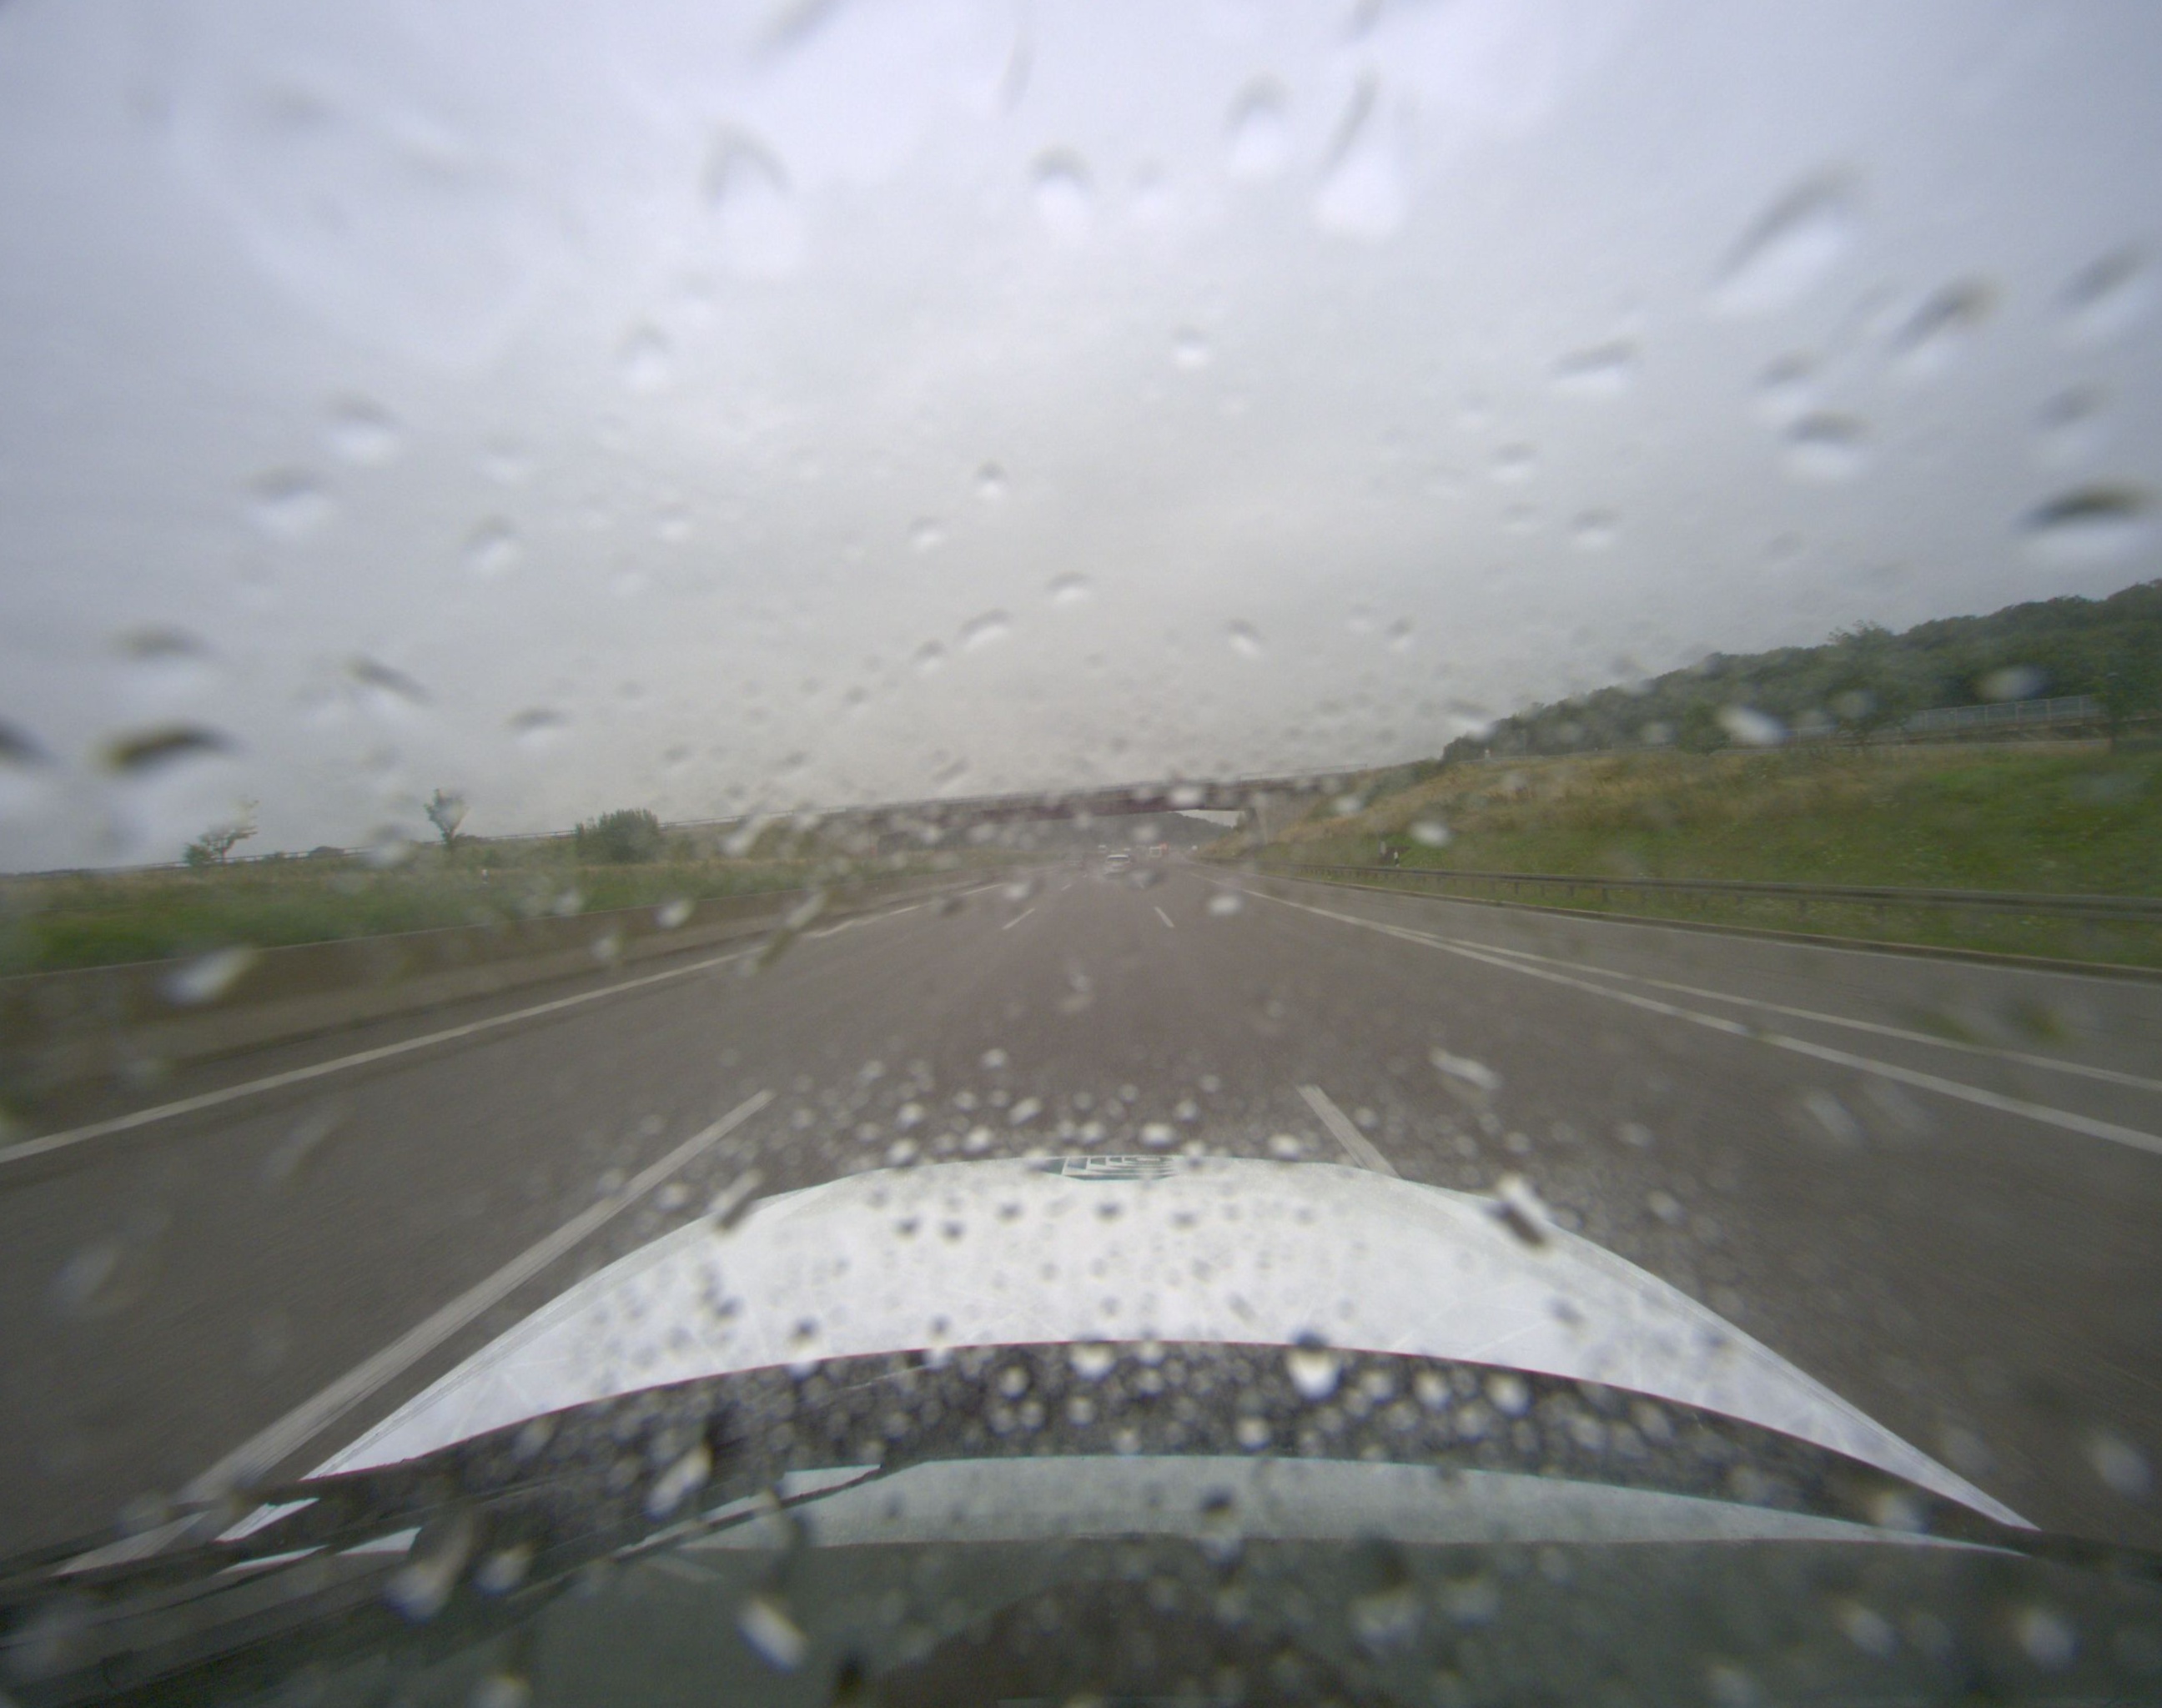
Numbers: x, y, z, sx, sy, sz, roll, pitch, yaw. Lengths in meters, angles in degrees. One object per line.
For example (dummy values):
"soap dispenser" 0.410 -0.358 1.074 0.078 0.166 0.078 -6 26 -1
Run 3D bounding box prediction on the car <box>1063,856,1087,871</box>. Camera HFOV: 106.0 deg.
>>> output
"car" -0.472 0.747 65.592 1.817 1.156 4.213 0 -1 1

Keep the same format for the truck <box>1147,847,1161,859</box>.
"truck" 13.786 -0.236 153.035 2.395 2.252 4.702 -1 0 7

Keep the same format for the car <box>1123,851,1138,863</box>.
"car" 7.061 0.436 116.189 1.984 1.618 4.006 -1 0 5

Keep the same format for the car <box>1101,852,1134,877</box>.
"car" 2.190 0.634 49.812 1.862 1.463 3.999 -1 -1 0

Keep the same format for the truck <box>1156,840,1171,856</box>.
"truck" 20.661 -1.582 204.586 3.511 3.742 11.442 -1 1 5
